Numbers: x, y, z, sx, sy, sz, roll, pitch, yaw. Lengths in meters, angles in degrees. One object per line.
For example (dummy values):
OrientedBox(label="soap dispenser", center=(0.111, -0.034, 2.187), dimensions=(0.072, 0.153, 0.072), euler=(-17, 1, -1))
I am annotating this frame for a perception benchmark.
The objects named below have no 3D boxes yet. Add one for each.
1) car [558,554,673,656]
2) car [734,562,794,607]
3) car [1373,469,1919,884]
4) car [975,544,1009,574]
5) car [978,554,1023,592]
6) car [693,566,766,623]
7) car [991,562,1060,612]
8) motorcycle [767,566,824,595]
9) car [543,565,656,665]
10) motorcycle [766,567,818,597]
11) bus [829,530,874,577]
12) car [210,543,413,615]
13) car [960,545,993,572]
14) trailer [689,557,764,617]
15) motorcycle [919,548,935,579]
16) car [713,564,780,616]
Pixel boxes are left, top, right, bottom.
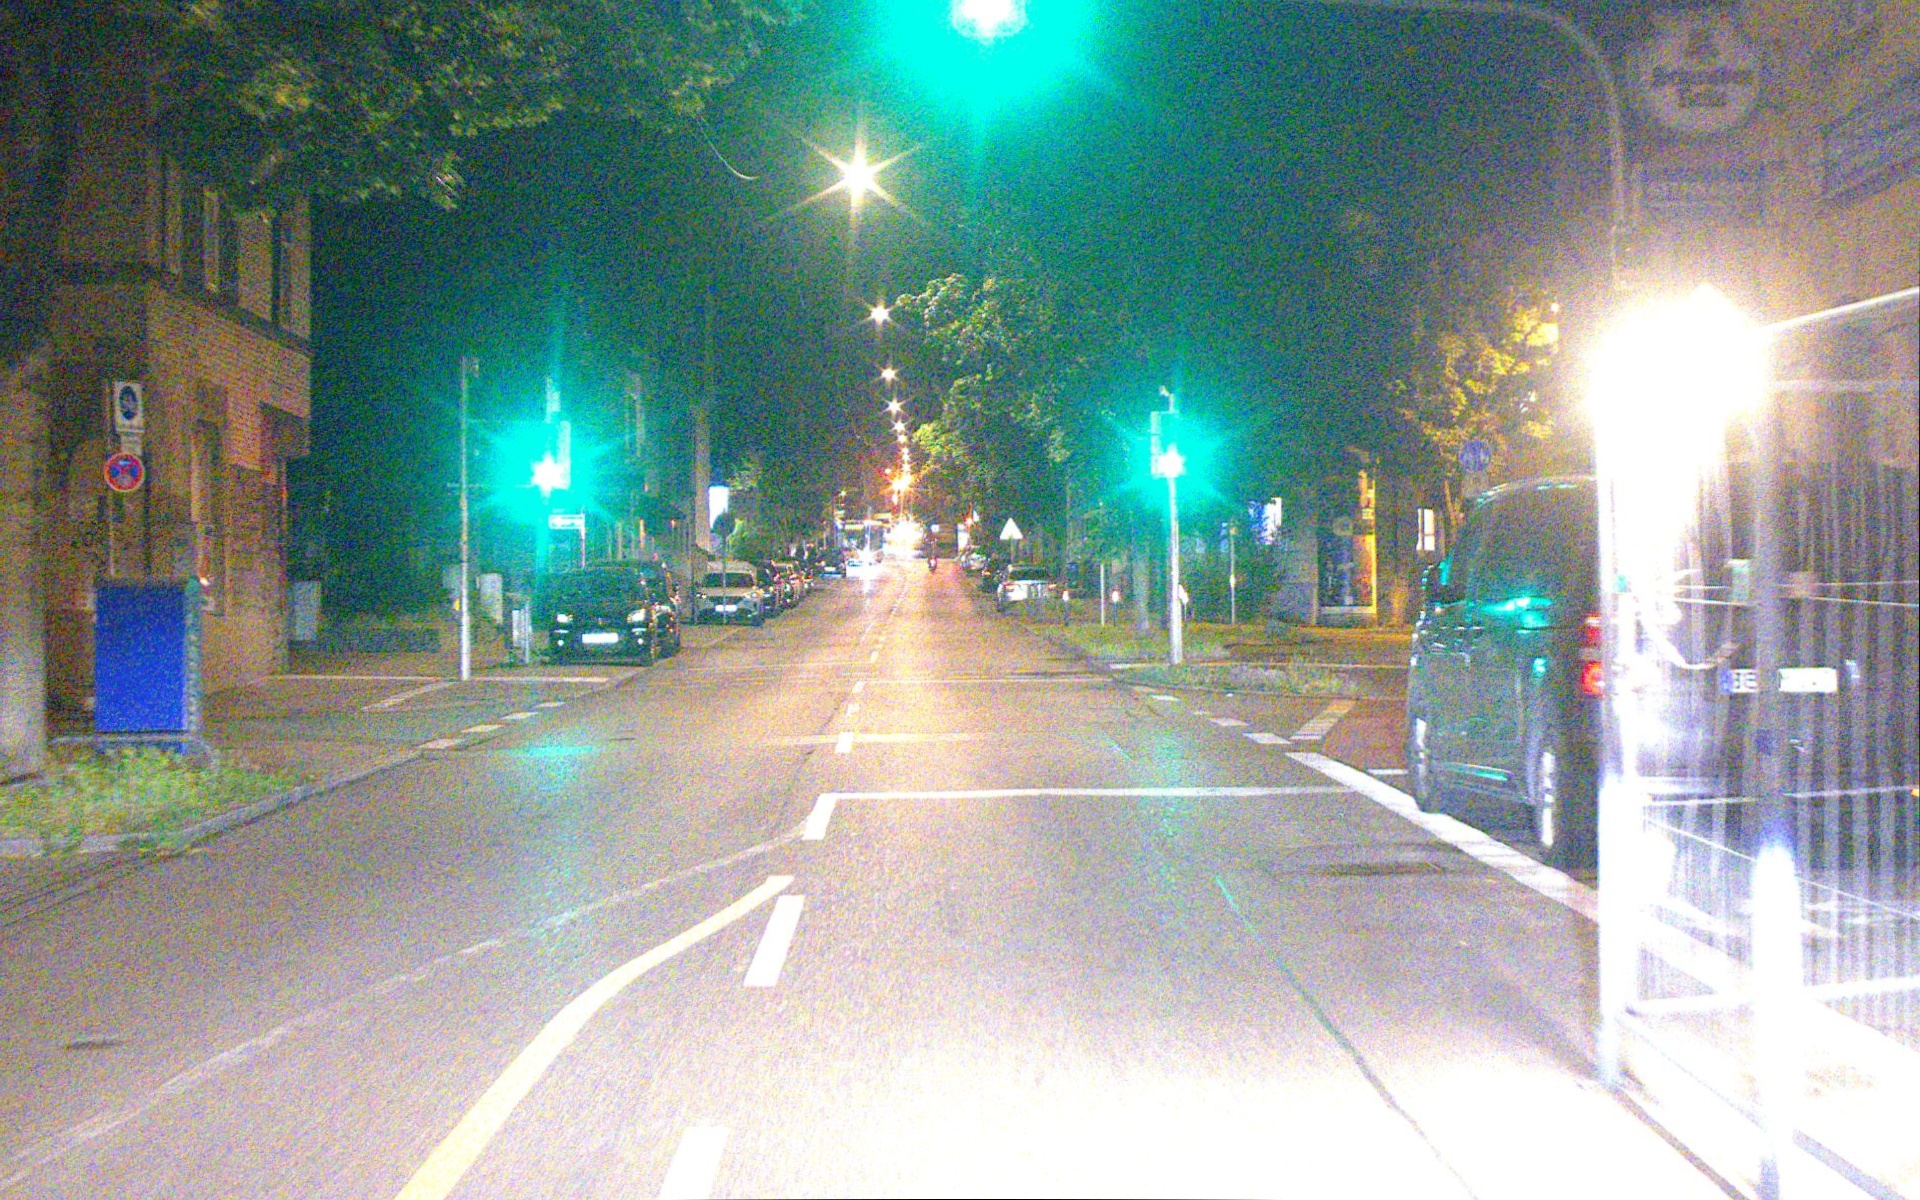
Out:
OrientedBox(label="car", center=(-5.954, 0.051, 59.808), dimensions=(1.848, 1.644, 4.672), euler=(1, 1, -4))
OrientedBox(label="car", center=(-6.599, -0.522, 116.162), dimensions=(1.863, 1.486, 4.281), euler=(1, 0, -2))
OrientedBox(label="car", center=(3.500, 0.308, 17.670), dimensions=(1.910, 1.820, 4.901), euler=(-1, 1, -3))
OrientedBox(label="car", center=(1.777, -2.295, 192.810), dimensions=(1.812, 1.588, 4.274), euler=(-2, 1, -1))
OrientedBox(label="car", center=(1.690, -1.128, 143.802), dimensions=(1.763, 1.471, 4.080), euler=(-2, 1, 0))
OrientedBox(label="car", center=(-6.131, -0.175, 91.921), dimensions=(1.814, 1.479, 4.348), euler=(0, 1, -2))
OrientedBox(label="car", center=(1.982, -0.399, 105.363), dimensions=(1.845, 1.412, 4.645), euler=(-3, 0, -1))
OrientedBox(label="motorcycle", center=(-6.465, -0.770, 134.787), dimensions=(2.206, 1.127, 0.714), euler=(0, 2, 33))
OrientedBox(label="car", center=(-5.664, 0.216, 54.320), dimensions=(1.647, 1.509, 3.702), euler=(1, 0, -4))
OrientedBox(label="motorcycle", center=(-6.492, -0.700, 132.769), dimensions=(0.714, 1.143, 2.208), euler=(-2, 2, -43))
OrientedBox(label="bus", center=(-7.439, -3.261, 237.407), dimensions=(2.837, 3.166, 10.499), euler=(1, 1, -1))
OrientedBox(label="car", center=(-14.306, -0.471, 75.910), dimensions=(3.988, 1.420, 1.761), euler=(2, 0, 9))
OrientedBox(label="car", center=(0.986, -2.501, 205.967), dimensions=(1.868, 1.521, 4.150), euler=(-2, 1, -1))
OrientedBox(label="trailer", center=(-6.525, -0.366, 96.518), dimensions=(1.638, 1.634, 3.439), euler=(1, 0, 4))
OrientedBox(label="motorcycle", center=(-1.913, -2.112, 200.405), dimensions=(0.931, 1.746, 2.625), euler=(1, 0, 0))
OrientedBox(label="car", center=(-6.345, -0.315, 102.479), dimensions=(1.835, 1.442, 4.545), euler=(-1, 1, -2))
